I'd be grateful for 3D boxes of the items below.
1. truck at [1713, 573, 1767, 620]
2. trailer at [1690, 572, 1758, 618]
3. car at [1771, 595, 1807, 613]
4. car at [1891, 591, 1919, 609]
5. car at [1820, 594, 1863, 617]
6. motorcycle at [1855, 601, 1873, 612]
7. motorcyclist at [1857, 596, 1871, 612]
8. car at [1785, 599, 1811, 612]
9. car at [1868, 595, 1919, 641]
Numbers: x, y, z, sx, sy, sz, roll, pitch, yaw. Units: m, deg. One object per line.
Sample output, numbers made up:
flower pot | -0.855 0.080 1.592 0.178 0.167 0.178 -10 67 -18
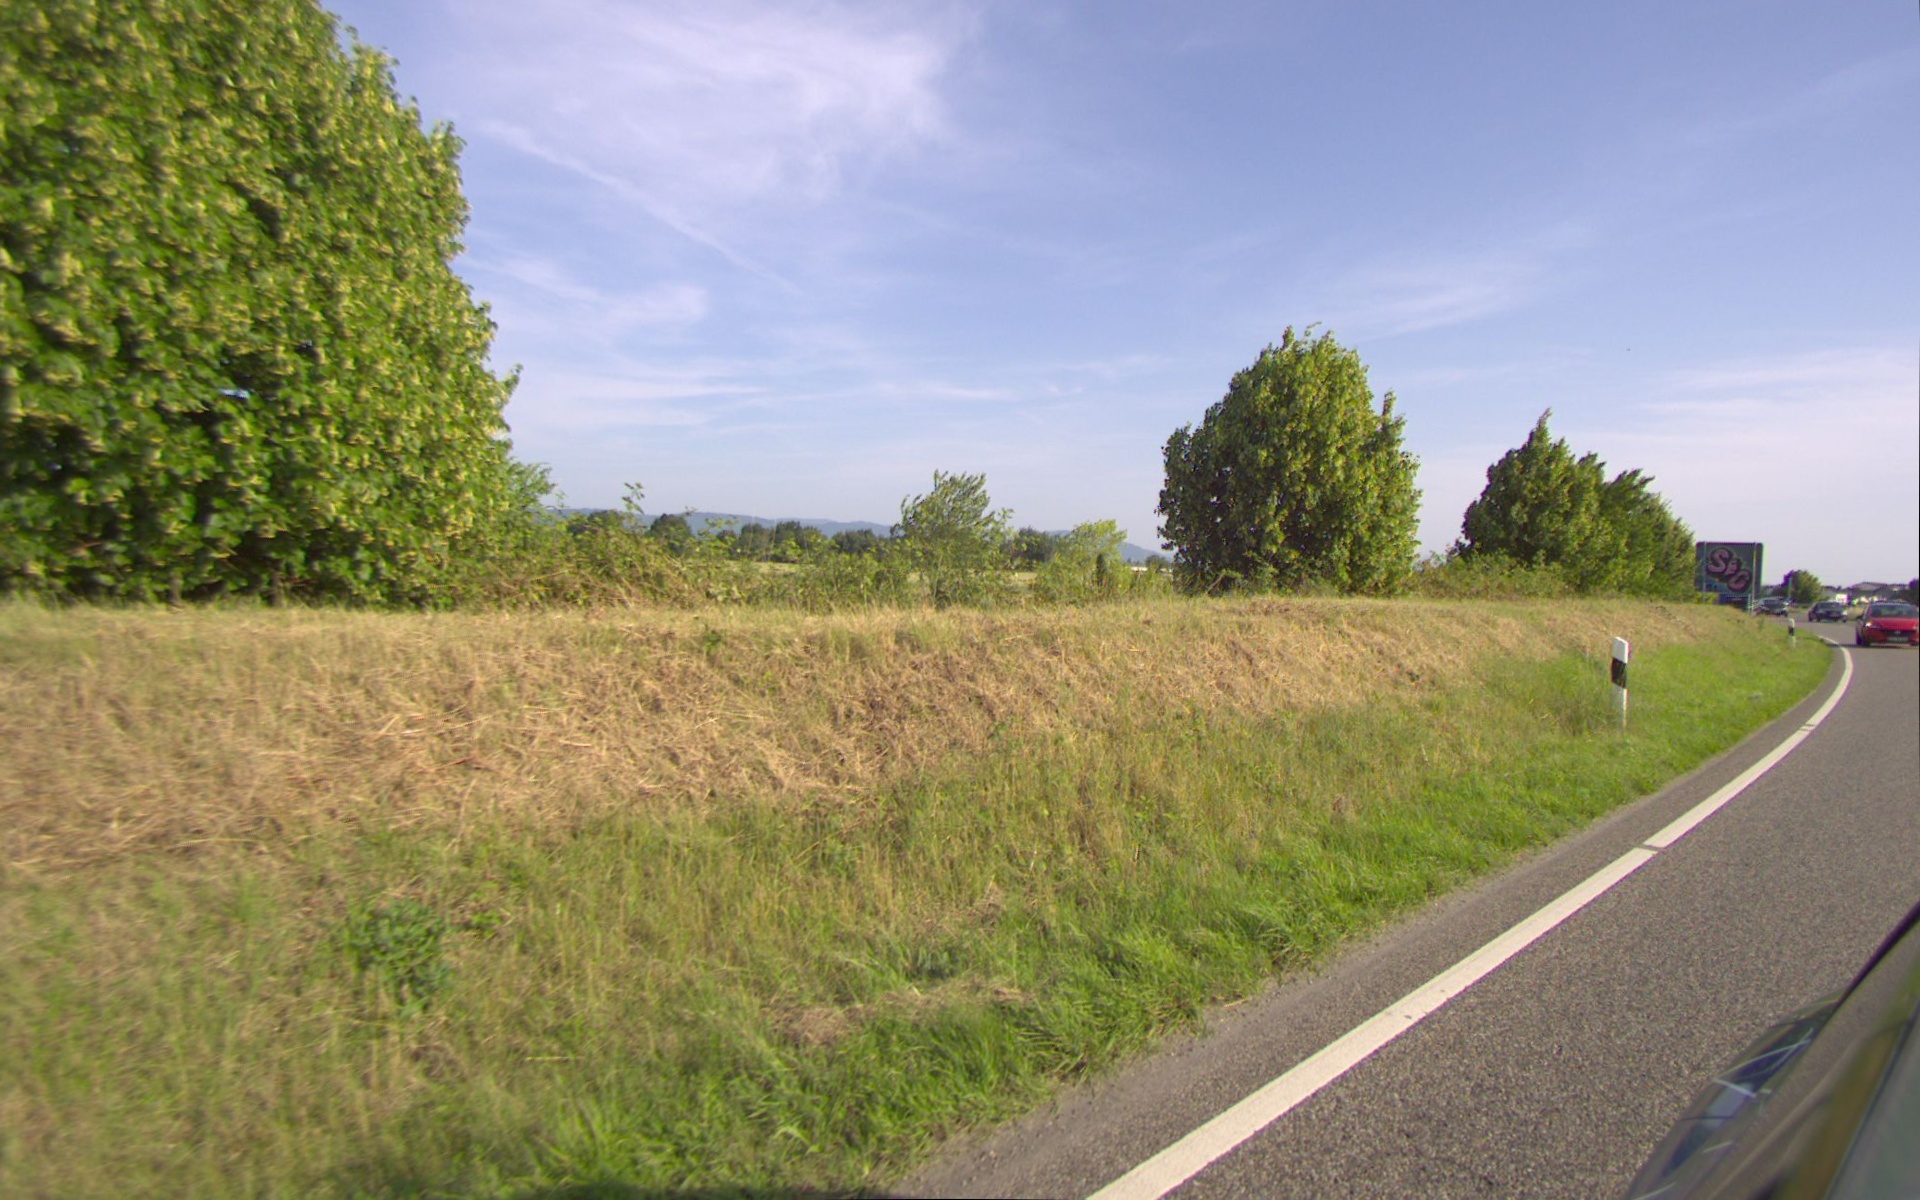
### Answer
truck | 68.416 -0.394 88.903 2.627 3.968 5.896 0 1 27
trailer | 71.407 -0.548 94.870 2.627 4.028 13.801 0 1 27
car | 74.363 0.341 90.813 1.817 1.549 3.957 2 1 30
car | 91.939 -0.006 97.614 1.900 1.585 4.568 1 1 27
car | 64.253 0.379 73.817 1.740 1.549 3.952 2 1 33
motorcycle | 96.150 0.658 107.653 0.746 1.107 2.290 1 1 23
motorcyclist | 96.164 0.400 107.648 0.746 1.624 1.240 1 1 23
car | 103.765 0.639 125.410 1.696 1.544 4.093 1 1 29
car | 32.491 0.589 34.797 1.658 1.482 3.900 1 1 39
